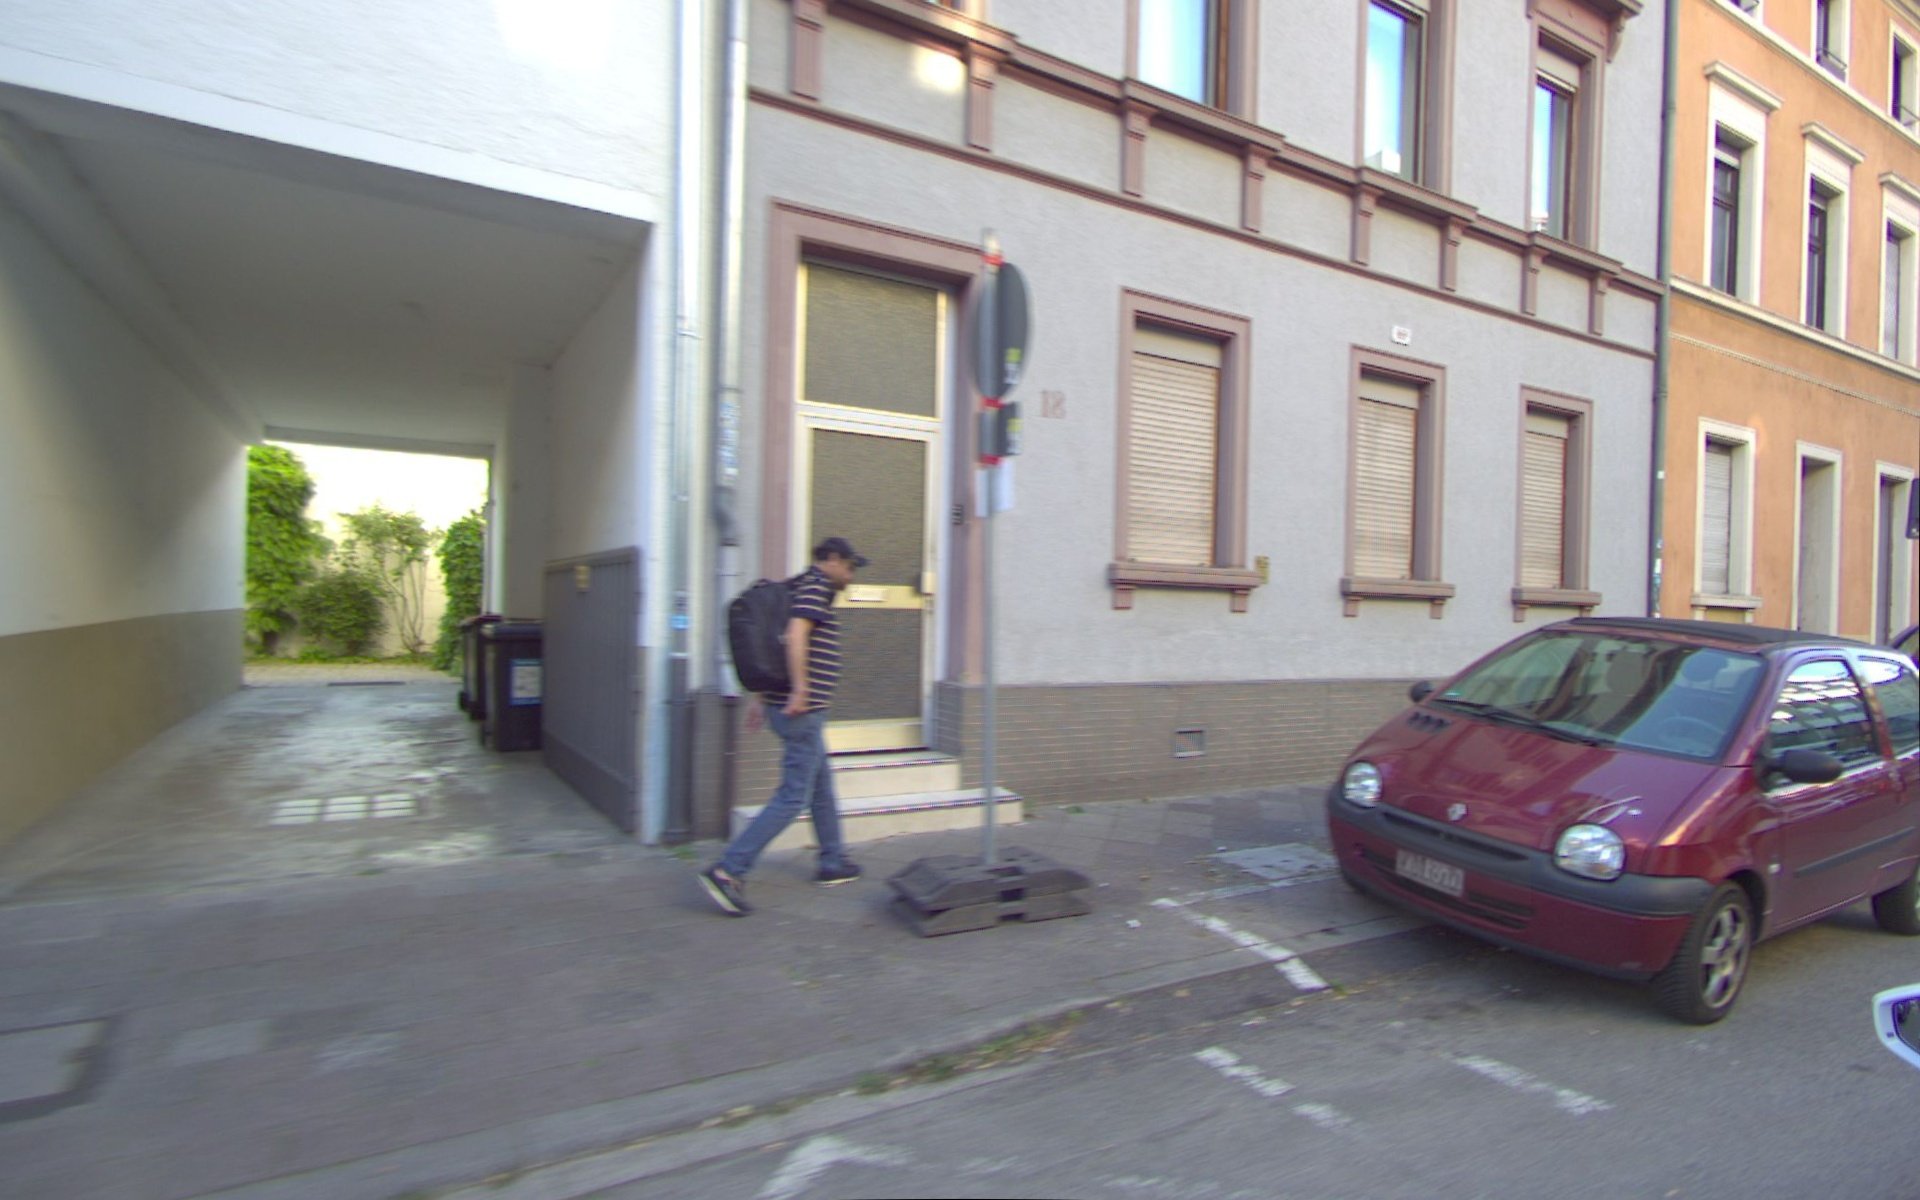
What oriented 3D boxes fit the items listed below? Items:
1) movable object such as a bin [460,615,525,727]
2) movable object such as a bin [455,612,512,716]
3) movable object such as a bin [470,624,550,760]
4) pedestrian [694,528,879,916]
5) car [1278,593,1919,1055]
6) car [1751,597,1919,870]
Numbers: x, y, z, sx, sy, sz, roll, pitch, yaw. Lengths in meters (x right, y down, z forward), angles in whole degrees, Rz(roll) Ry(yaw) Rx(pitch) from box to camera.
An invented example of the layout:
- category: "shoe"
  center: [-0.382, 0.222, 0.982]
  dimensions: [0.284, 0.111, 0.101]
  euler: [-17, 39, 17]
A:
- category: "movable object such as a bin"
  center: [-4.865, 0.721, 10.448]
  dimensions: [0.535, 1.096, 0.600]
  euler: [2, 1, -30]
- category: "movable object such as a bin"
  center: [-5.385, 0.710, 11.352]
  dimensions: [0.503, 1.107, 0.624]
  euler: [2, 1, -30]
- category: "movable object such as a bin"
  center: [-3.830, 0.764, 8.533]
  dimensions: [0.535, 1.070, 0.600]
  euler: [2, 1, -30]
- category: "pedestrian"
  center: [-0.811, 0.525, 4.666]
  dimensions: [0.658, 1.660, 0.492]
  euler: [2, 1, -30]
- category: "car"
  center: [3.367, 0.807, 4.942]
  dimensions: [3.249, 1.467, 1.648]
  euler: [2, 3, -32]
- category: "car"
  center: [7.719, 0.918, 7.365]
  dimensions: [3.935, 1.666, 1.702]
  euler: [2, 2, -32]
